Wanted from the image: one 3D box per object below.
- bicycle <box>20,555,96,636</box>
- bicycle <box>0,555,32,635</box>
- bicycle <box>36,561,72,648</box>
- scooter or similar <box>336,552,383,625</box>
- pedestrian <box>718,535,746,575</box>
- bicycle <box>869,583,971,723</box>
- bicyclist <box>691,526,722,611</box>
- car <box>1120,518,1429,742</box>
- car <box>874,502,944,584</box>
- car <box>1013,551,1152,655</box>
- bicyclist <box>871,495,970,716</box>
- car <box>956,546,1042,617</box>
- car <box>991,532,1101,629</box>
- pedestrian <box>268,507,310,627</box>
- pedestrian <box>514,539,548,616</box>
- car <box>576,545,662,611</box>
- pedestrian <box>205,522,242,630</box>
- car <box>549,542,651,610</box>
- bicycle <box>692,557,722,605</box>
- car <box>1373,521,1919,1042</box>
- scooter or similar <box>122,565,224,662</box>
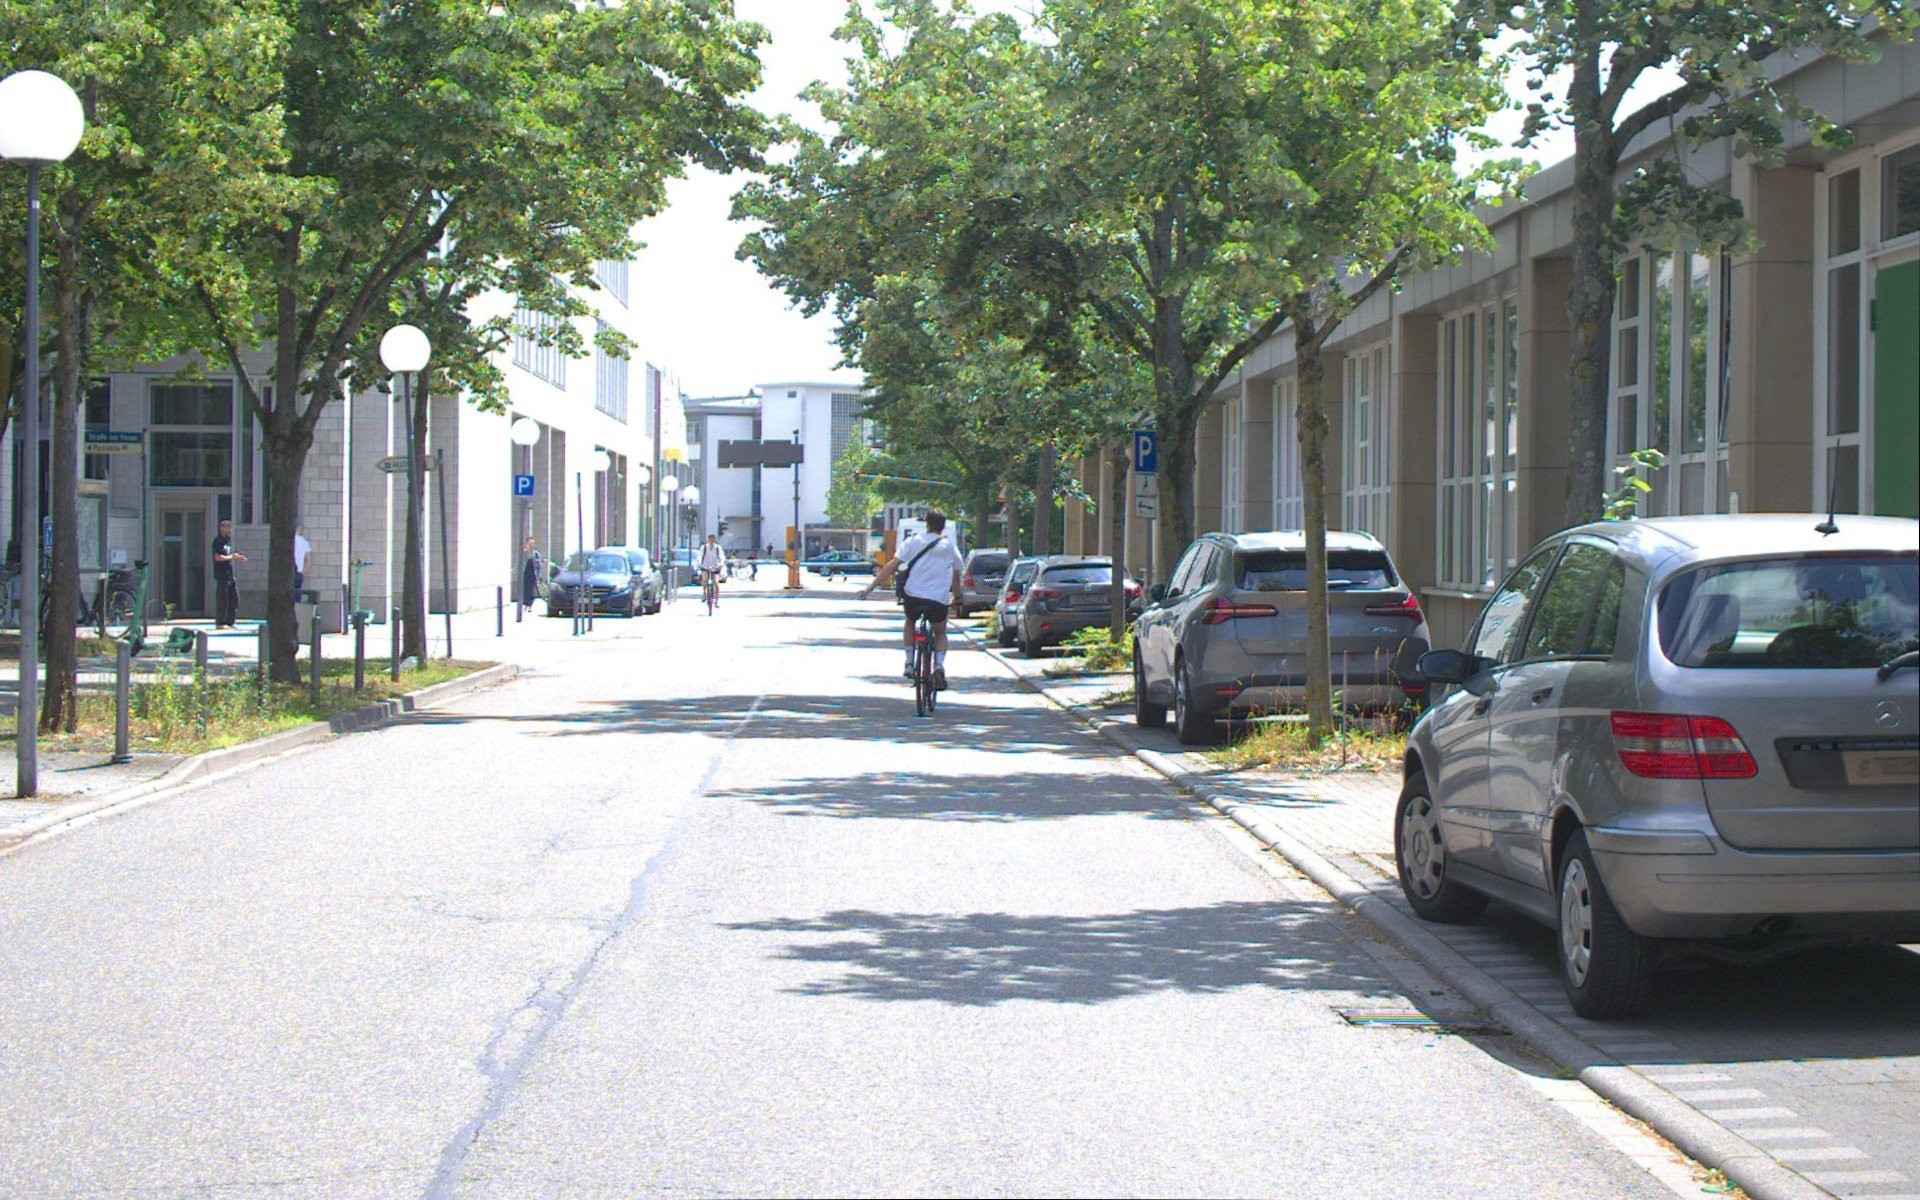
[{"bbox_3d":[-12.626,-0.079,48.150,0.552,1.083,1.973,2,1,-2],"label":"bicycle"},{"bbox_3d":[-13.584,-0.081,48.321,0.552,1.083,1.973,2,1,-2],"label":"bicycle"},{"bbox_3d":[-11.038,0.043,41.908,0.381,1.022,1.816,1,1,-14],"label":"bicycle"},{"bbox_3d":[-10.157,-0.206,58.180,0.454,1.219,1.549,1,1,2],"label":"scooter or similar"},{"bbox_3d":[-12.301,-2.423,185.630,1.416,2.100,0.995,2,1,-5],"label":"pedestrian"},{"bbox_3d":[-0.387,0.465,31.929,0.882,1.195,2.750,1,1,-1],"label":"bicycle"},{"bbox_3d":[-6.001,-0.752,81.432,0.711,2.007,1.019,-1,1,-4],"label":"bicyclist"},{"bbox_3d":[2.466,0.224,28.044,1.822,1.658,4.584,-1,0,-3],"label":"car"},{"bbox_3d":[-1.667,-1.843,111.054,2.083,2.531,4.316,2,1,-2],"label":"car"},{"bbox_3d":[1.788,0.010,51.546,1.780,1.471,4.462,-1,1,-2],"label":"car"},{"bbox_3d":[-0.371,0.046,32.010,0.873,2.007,0.850,1,1,-1],"label":"bicyclist"},{"bbox_3d":[0.872,-0.439,79.508,1.858,1.568,4.000,-1,1,-1],"label":"car"},{"bbox_3d":[1.399,-0.337,57.191,1.616,1.533,3.780,1,1,-1],"label":"car"},{"bbox_3d":[-10.895,-0.536,55.834,0.412,1.935,0.663,1,1,-31],"label":"pedestrian"},{"bbox_3d":[-9.611,-0.501,77.053,0.649,1.695,0.890,1,1,-12],"label":"pedestrian"},{"bbox_3d":[-7.915,-0.520,80.044,1.631,1.479,4.178,1,0,-1],"label":"car"},{"bbox_3d":[-12.093,-0.396,56.456,0.441,1.769,0.451,1,1,-32],"label":"pedestrian"},{"bbox_3d":[-7.806,-0.521,74.846,1.766,1.423,4.234,1,0,0],"label":"car"},{"bbox_3d":[-5.997,-0.457,81.565,0.685,1.126,1.889,0,1,-4],"label":"bicycle"},{"bbox_3d":[2.714,0.515,12.493,1.704,1.568,4.141,-1,1,-3],"label":"car"},{"bbox_3d":[-9.717,0.164,42.471,0.339,1.171,1.326,2,1,34],"label":"scooter or similar"}]
